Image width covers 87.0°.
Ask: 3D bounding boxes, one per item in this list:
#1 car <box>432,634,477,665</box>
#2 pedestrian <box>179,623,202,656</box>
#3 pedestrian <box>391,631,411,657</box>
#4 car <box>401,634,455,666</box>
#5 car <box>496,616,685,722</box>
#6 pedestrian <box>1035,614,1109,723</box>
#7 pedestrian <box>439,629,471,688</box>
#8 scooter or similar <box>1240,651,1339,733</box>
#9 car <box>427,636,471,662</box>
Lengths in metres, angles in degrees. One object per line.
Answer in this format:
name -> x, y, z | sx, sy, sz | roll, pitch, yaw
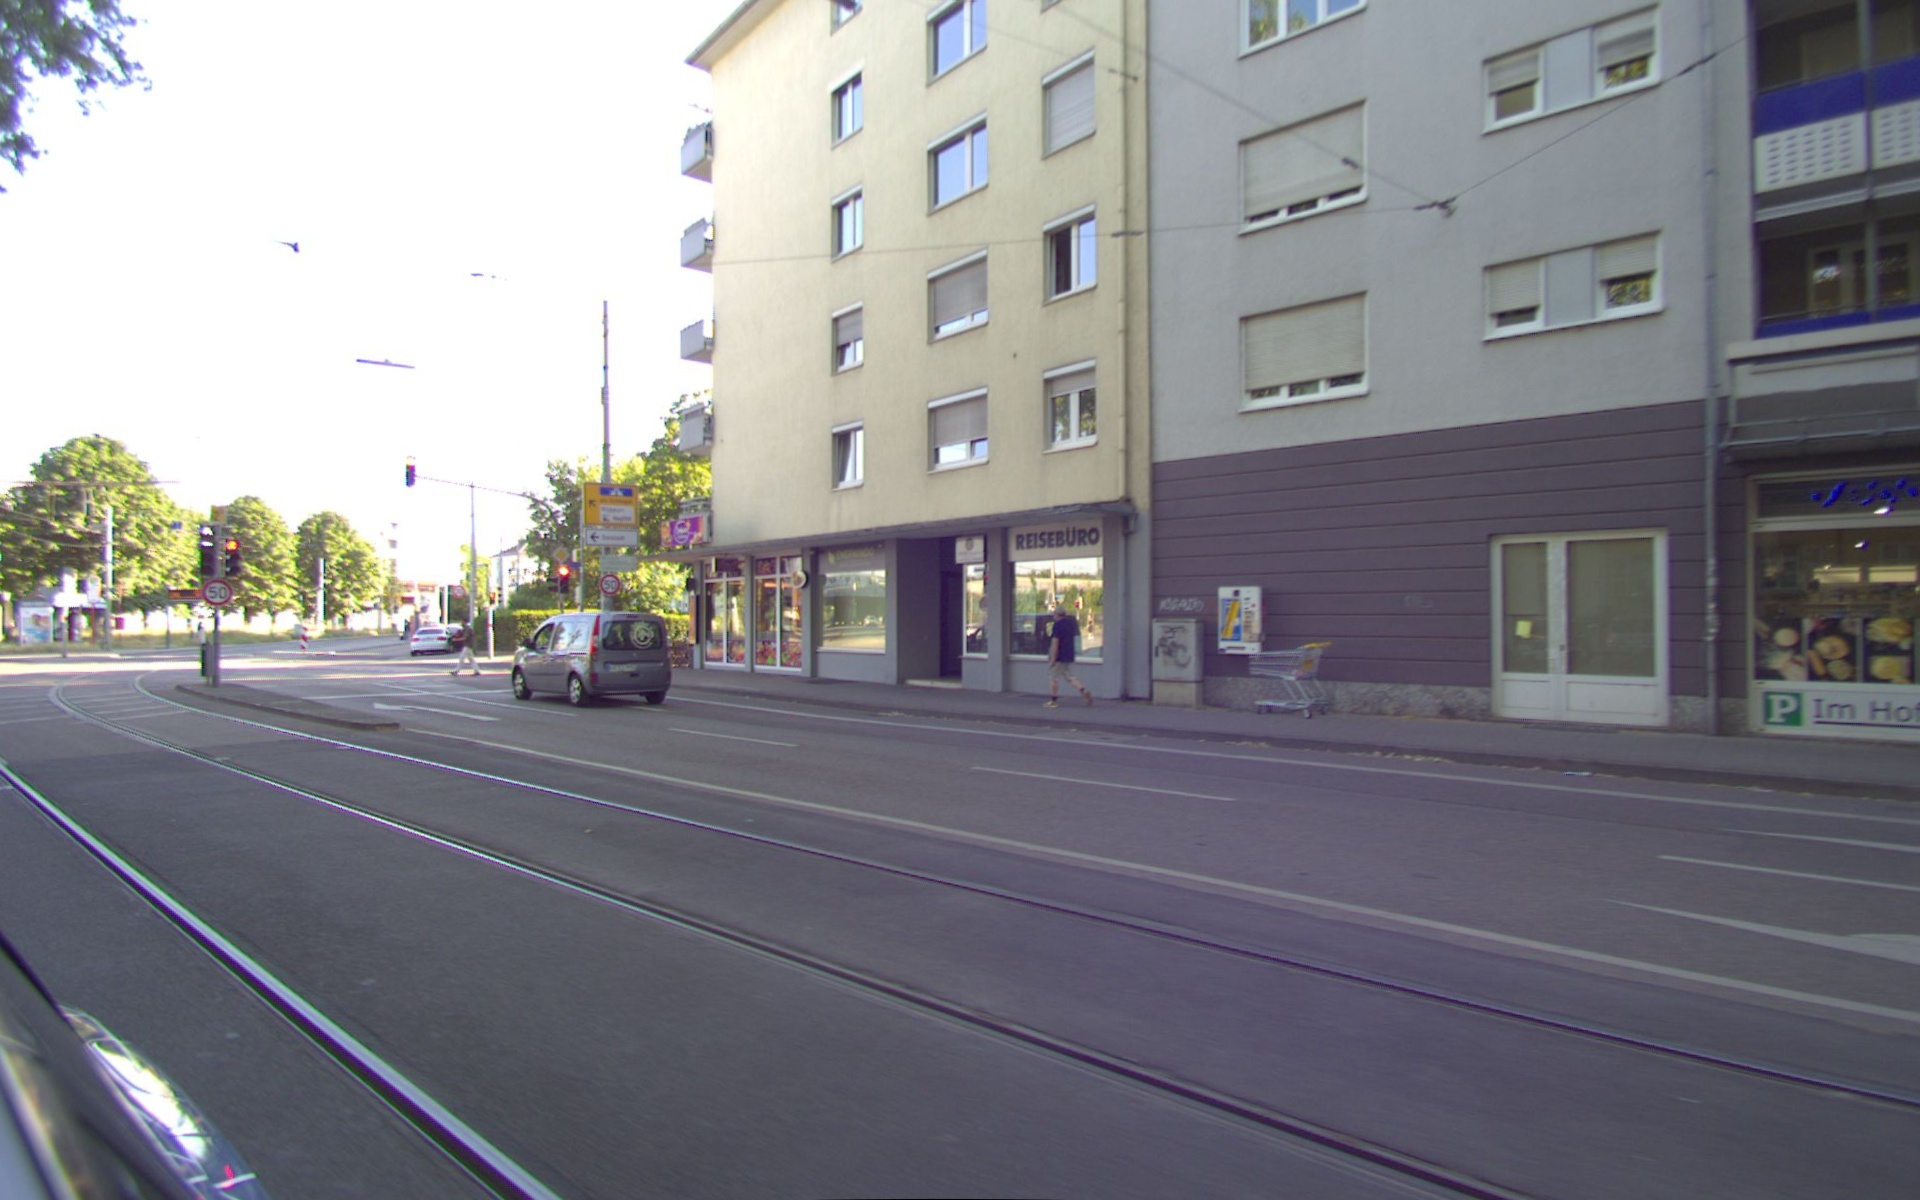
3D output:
car -> -30.545, 2.951, 61.258 | 1.787, 1.707, 3.993 | -2, -1, -18
pedestrian -> -47.697, 2.418, 62.740 | 0.858, 2.029, 0.902 | -2, -2, 36
pedestrian -> -43.794, 3.455, 79.296 | 0.871, 2.029, 0.994 | -1, -2, 20
car -> -26.559, 2.466, 50.634 | 1.787, 1.439, 3.752 | -2, -1, -18
car -> -7.350, 1.281, 19.919 | 1.970, 1.846, 4.228 | 2, -3, -43
pedestrian -> 1.829, 1.093, 16.586 | 0.904, 1.686, 0.707 | -1, 2, 42
pedestrian -> -14.691, 1.692, 29.437 | 0.742, 1.693, 0.795 | 1, -2, -34
scooter or similar -> 4.764, 1.305, 14.666 | 1.162, 1.063, 0.722 | -1, 0, 41
car -> -27.872, 2.655, 55.252 | 1.614, 1.333, 3.349 | -2, -1, -18
